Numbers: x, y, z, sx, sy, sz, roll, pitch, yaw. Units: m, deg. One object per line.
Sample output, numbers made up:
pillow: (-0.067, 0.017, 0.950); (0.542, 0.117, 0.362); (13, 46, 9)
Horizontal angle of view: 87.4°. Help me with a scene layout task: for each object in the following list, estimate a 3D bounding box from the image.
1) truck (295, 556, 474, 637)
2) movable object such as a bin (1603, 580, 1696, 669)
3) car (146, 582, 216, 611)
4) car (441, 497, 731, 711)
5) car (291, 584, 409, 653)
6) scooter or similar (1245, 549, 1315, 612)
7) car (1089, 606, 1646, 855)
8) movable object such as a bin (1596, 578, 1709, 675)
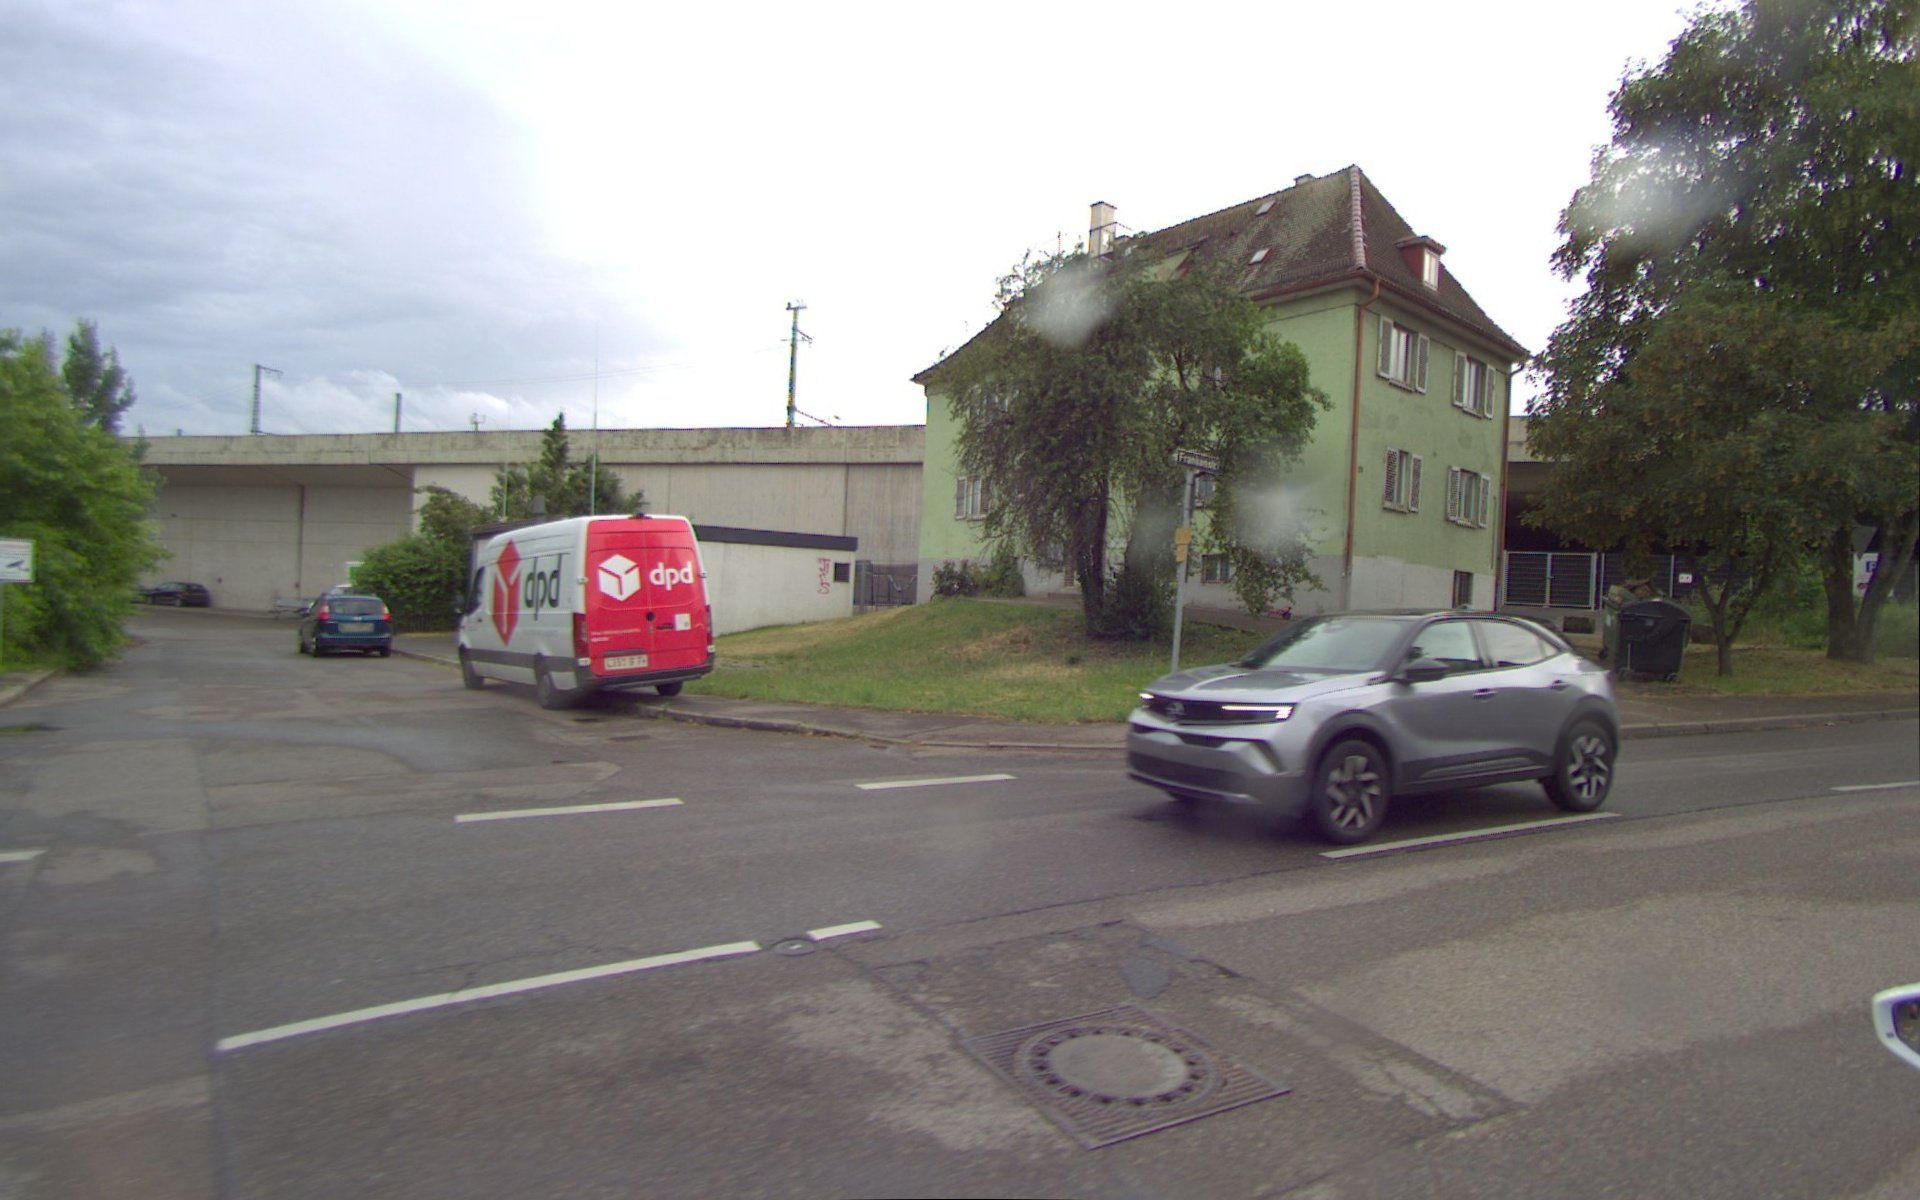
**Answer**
truck: (-28.783, -0.163, 50.615); (2.361, 3.749, 7.586); (2, 1, 33)
movable object such as a bin: (13.011, 0.428, 19.025); (1.079, 1.458, 1.461); (4, 7, 23)
car: (-51.999, -0.232, 67.062); (3.923, 1.819, 1.999); (2, 1, 23)
car: (-6.221, 0.000, 15.959); (2.244, 2.691, 6.745); (1, 1, -39)
car: (-16.430, 0.438, 26.965); (1.985, 1.651, 4.200); (1, 1, -42)
scooter or similar: (7.075, -0.444, 22.283); (0.523, 1.291, 1.516); (1, 5, -24)
car: (3.172, 0.810, 7.791); (3.948, 1.481, 1.888); (1, 0, -27)
movable object such as a bin: (12.211, 0.422, 17.786); (1.269, 1.458, 1.461); (4, 7, 23)
